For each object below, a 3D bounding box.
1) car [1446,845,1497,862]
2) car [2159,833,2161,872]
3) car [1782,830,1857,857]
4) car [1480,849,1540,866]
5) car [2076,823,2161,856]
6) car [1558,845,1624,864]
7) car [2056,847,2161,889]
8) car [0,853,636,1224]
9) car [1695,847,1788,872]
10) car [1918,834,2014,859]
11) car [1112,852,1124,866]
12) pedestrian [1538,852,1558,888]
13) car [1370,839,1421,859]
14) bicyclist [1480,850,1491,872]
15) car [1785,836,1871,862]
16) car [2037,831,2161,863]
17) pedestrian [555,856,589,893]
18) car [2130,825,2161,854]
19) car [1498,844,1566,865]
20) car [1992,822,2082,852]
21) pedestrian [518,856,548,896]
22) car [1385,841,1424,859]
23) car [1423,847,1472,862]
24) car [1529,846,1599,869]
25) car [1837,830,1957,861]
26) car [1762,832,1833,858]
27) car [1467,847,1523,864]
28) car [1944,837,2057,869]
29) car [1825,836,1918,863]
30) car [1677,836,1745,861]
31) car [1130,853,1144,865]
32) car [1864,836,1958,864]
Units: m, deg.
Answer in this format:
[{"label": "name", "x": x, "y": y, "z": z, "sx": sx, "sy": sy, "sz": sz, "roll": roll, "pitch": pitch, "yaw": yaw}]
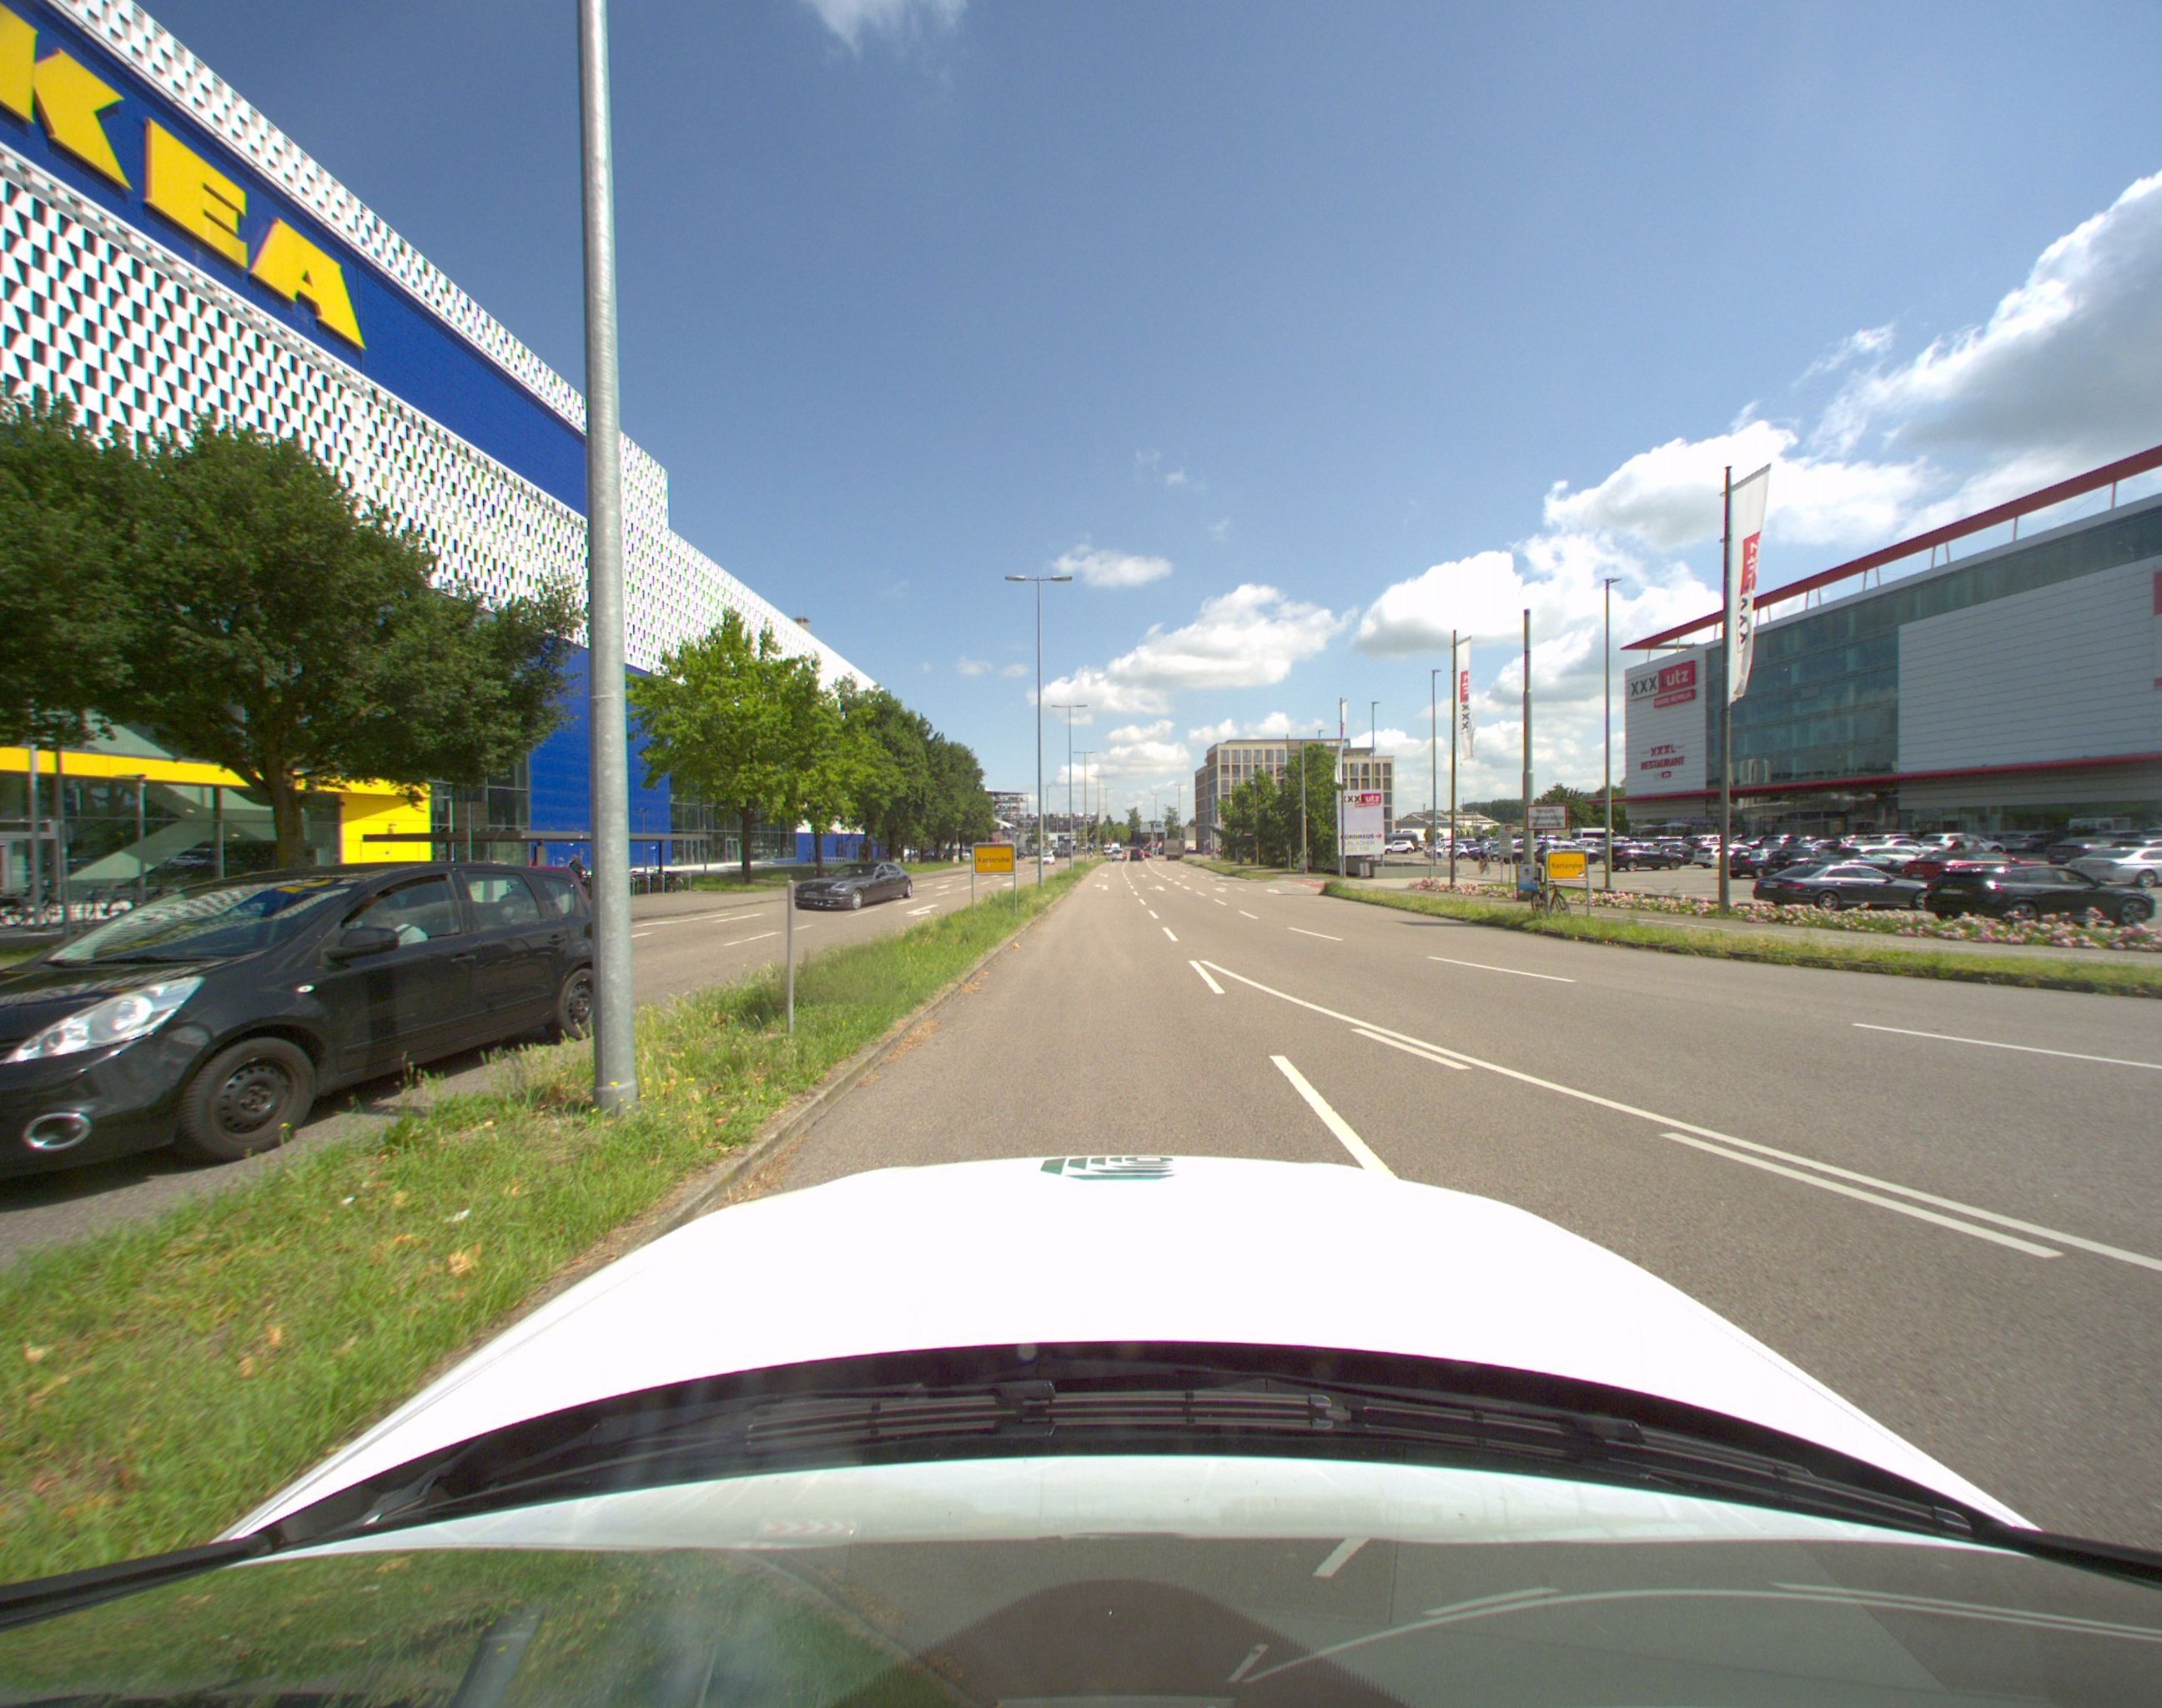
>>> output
[{"label": "car", "x": 37.479, "y": -0.062, "z": 78.273, "sx": 3.974, "sy": 1.571, "sz": 2.000, "roll": 0, "pitch": 0, "yaw": -1}, {"label": "car", "x": 50.565, "y": -0.116, "z": 35.608, "sx": 3.969, "sy": 1.739, "sz": 2.002, "roll": -1, "pitch": -1, "yaw": 4}, {"label": "car", "x": 56.753, "y": -0.828, "z": 62.618, "sx": 3.972, "sy": 2.013, "sz": 2.001, "roll": 0, "pitch": 1, "yaw": 2}, {"label": "car", "x": 37.132, "y": 0.310, "z": 70.547, "sx": 4.344, "sy": 1.325, "sz": 1.765, "roll": -2, "pitch": 1, "yaw": 0}, {"label": "car", "x": 66.539, "y": -0.916, "z": 51.842, "sx": 3.973, "sy": 2.013, "sz": 2.000, "roll": 0, "pitch": 1, "yaw": 0}, {"label": "car", "x": 40.958, "y": 0.028, "z": 65.420, "sx": 4.225, "sy": 1.464, "sz": 1.761, "roll": 0, "pitch": 1, "yaw": 0}, {"label": "car", "x": 39.795, "y": 0.515, "z": 30.704, "sx": 4.007, "sy": 1.362, "sz": 1.604, "roll": -2, "pitch": 1, "yaw": 3}, {"label": "car", "x": -4.949, "y": 0.800, "z": 5.374, "sx": 1.598, "sy": 1.493, "sz": 4.133, "roll": -3, "pitch": -1, "yaw": 1}, {"label": "car", "x": 40.763, "y": 0.344, "z": 50.329, "sx": 4.273, "sy": 1.427, "sz": 1.760, "roll": -1, "pitch": 2, "yaw": 2}, {"label": "car", "x": 56.615, "y": -0.489, "z": 52.145, "sx": 4.324, "sy": 1.511, "sz": 1.706, "roll": 0, "pitch": 1, "yaw": 1}, {"label": "car", "x": 5.661, "y": 0.783, "z": 124.831, "sx": 1.848, "sy": 2.018, "sz": 4.003, "roll": 0, "pitch": 1, "yaw": 2}, {"label": "pedestrian", "x": 23.711, "y": 0.789, "z": 41.358, "sx": 0.861, "sy": 1.782, "sz": 0.789, "roll": 0, "pitch": 1, "yaw": 32}, {"label": "car", "x": 39.245, "y": -0.602, "z": 101.700, "sx": 5.640, "sy": 2.366, "sz": 2.061, "roll": 0, "pitch": -1, "yaw": 0}, {"label": "bicyclist", "x": 25.899, "y": 0.453, "z": 52.135, "sx": 0.609, "sy": 1.413, "sz": 0.719, "roll": -1, "pitch": 0, "yaw": 29}, {"label": "car", "x": 51.093, "y": -0.339, "z": 55.731, "sx": 4.211, "sy": 1.587, "sz": 1.853, "roll": -2, "pitch": 1, "yaw": 0}, {"label": "car", "x": 50.675, "y": -0.329, "z": 40.456, "sx": 3.971, "sy": 1.508, "sz": 2.001, "roll": 1, "pitch": -1, "yaw": 2}, {"label": "pedestrian", "x": -23.444, "y": 0.943, "z": 37.522, "sx": 0.946, "sy": 1.702, "sz": 0.887, "roll": 0, "pitch": 0, "yaw": 2}, {"label": "car", "x": 66.492, "y": -0.890, "z": 49.098, "sx": 3.973, "sy": 1.723, "sz": 2.000, "roll": 0, "pitch": 1, "yaw": 0}, {"label": "car", "x": 36.202, "y": 0.031, "z": 65.479, "sx": 4.344, "sy": 1.574, "sz": 2.030, "roll": -2, "pitch": 1, "yaw": 0}, {"label": "car", "x": 66.706, "y": -1.183, "z": 56.867, "sx": 3.973, "sy": 2.013, "sz": 2.000, "roll": 0, "pitch": 1, "yaw": 0}, {"label": "pedestrian", "x": -25.179, "y": 0.981, "z": 37.418, "sx": 0.751, "sy": 1.822, "sz": 0.887, "roll": 0, "pitch": 0, "yaw": 2}, {"label": "car", "x": 39.047, "y": -0.441, "z": 98.312, "sx": 3.971, "sy": 2.013, "sz": 2.001, "roll": -2, "pitch": 0, "yaw": 2}, {"label": "car", "x": 37.332, "y": 0.055, "z": 83.071, "sx": 4.171, "sy": 1.389, "sz": 1.892, "roll": -2, "pitch": 1, "yaw": -1}, {"label": "car", "x": 35.877, "y": 0.252, "z": 60.542, "sx": 4.168, "sy": 1.552, "sz": 1.765, "roll": -2, "pitch": 1, "yaw": 0}, {"label": "car", "x": 40.786, "y": -0.436, "z": 40.771, "sx": 4.132, "sy": 1.508, "sz": 1.827, "roll": 0, "pitch": 1, "yaw": 2}, {"label": "car", "x": 57.410, "y": -0.719, "z": 65.319, "sx": 3.972, "sy": 2.013, "sz": 2.001, "roll": 0, "pitch": 1, "yaw": 2}, {"label": "car", "x": 37.045, "y": 0.127, "z": 72.970, "sx": 4.167, "sy": 1.325, "sz": 1.689, "roll": -2, "pitch": 0, "yaw": 2}, {"label": "car", "x": 48.077, "y": -0.072, "z": 42.625, "sx": 4.001, "sy": 1.587, "sz": 1.695, "roll": -1, "pitch": 1, "yaw": 0}, {"label": "car", "x": 50.948, "y": -0.287, "z": 52.566, "sx": 4.211, "sy": 1.587, "sz": 1.853, "roll": -2, "pitch": 1, "yaw": 0}, {"label": "car", "x": 50.484, "y": -0.455, "z": 65.322, "sx": 3.971, "sy": 2.013, "sz": 2.001, "roll": 0, "pitch": 1, "yaw": 2}, {"label": "car", "x": 8.846, "y": 0.827, "z": 128.379, "sx": 1.810, "sy": 1.809, "sz": 4.008, "roll": 0, "pitch": 0, "yaw": 7}, {"label": "car", "x": 50.782, "y": -0.236, "z": 49.861, "sx": 4.142, "sy": 1.511, "sz": 1.705, "roll": -2, "pitch": 1, "yaw": -2}]
